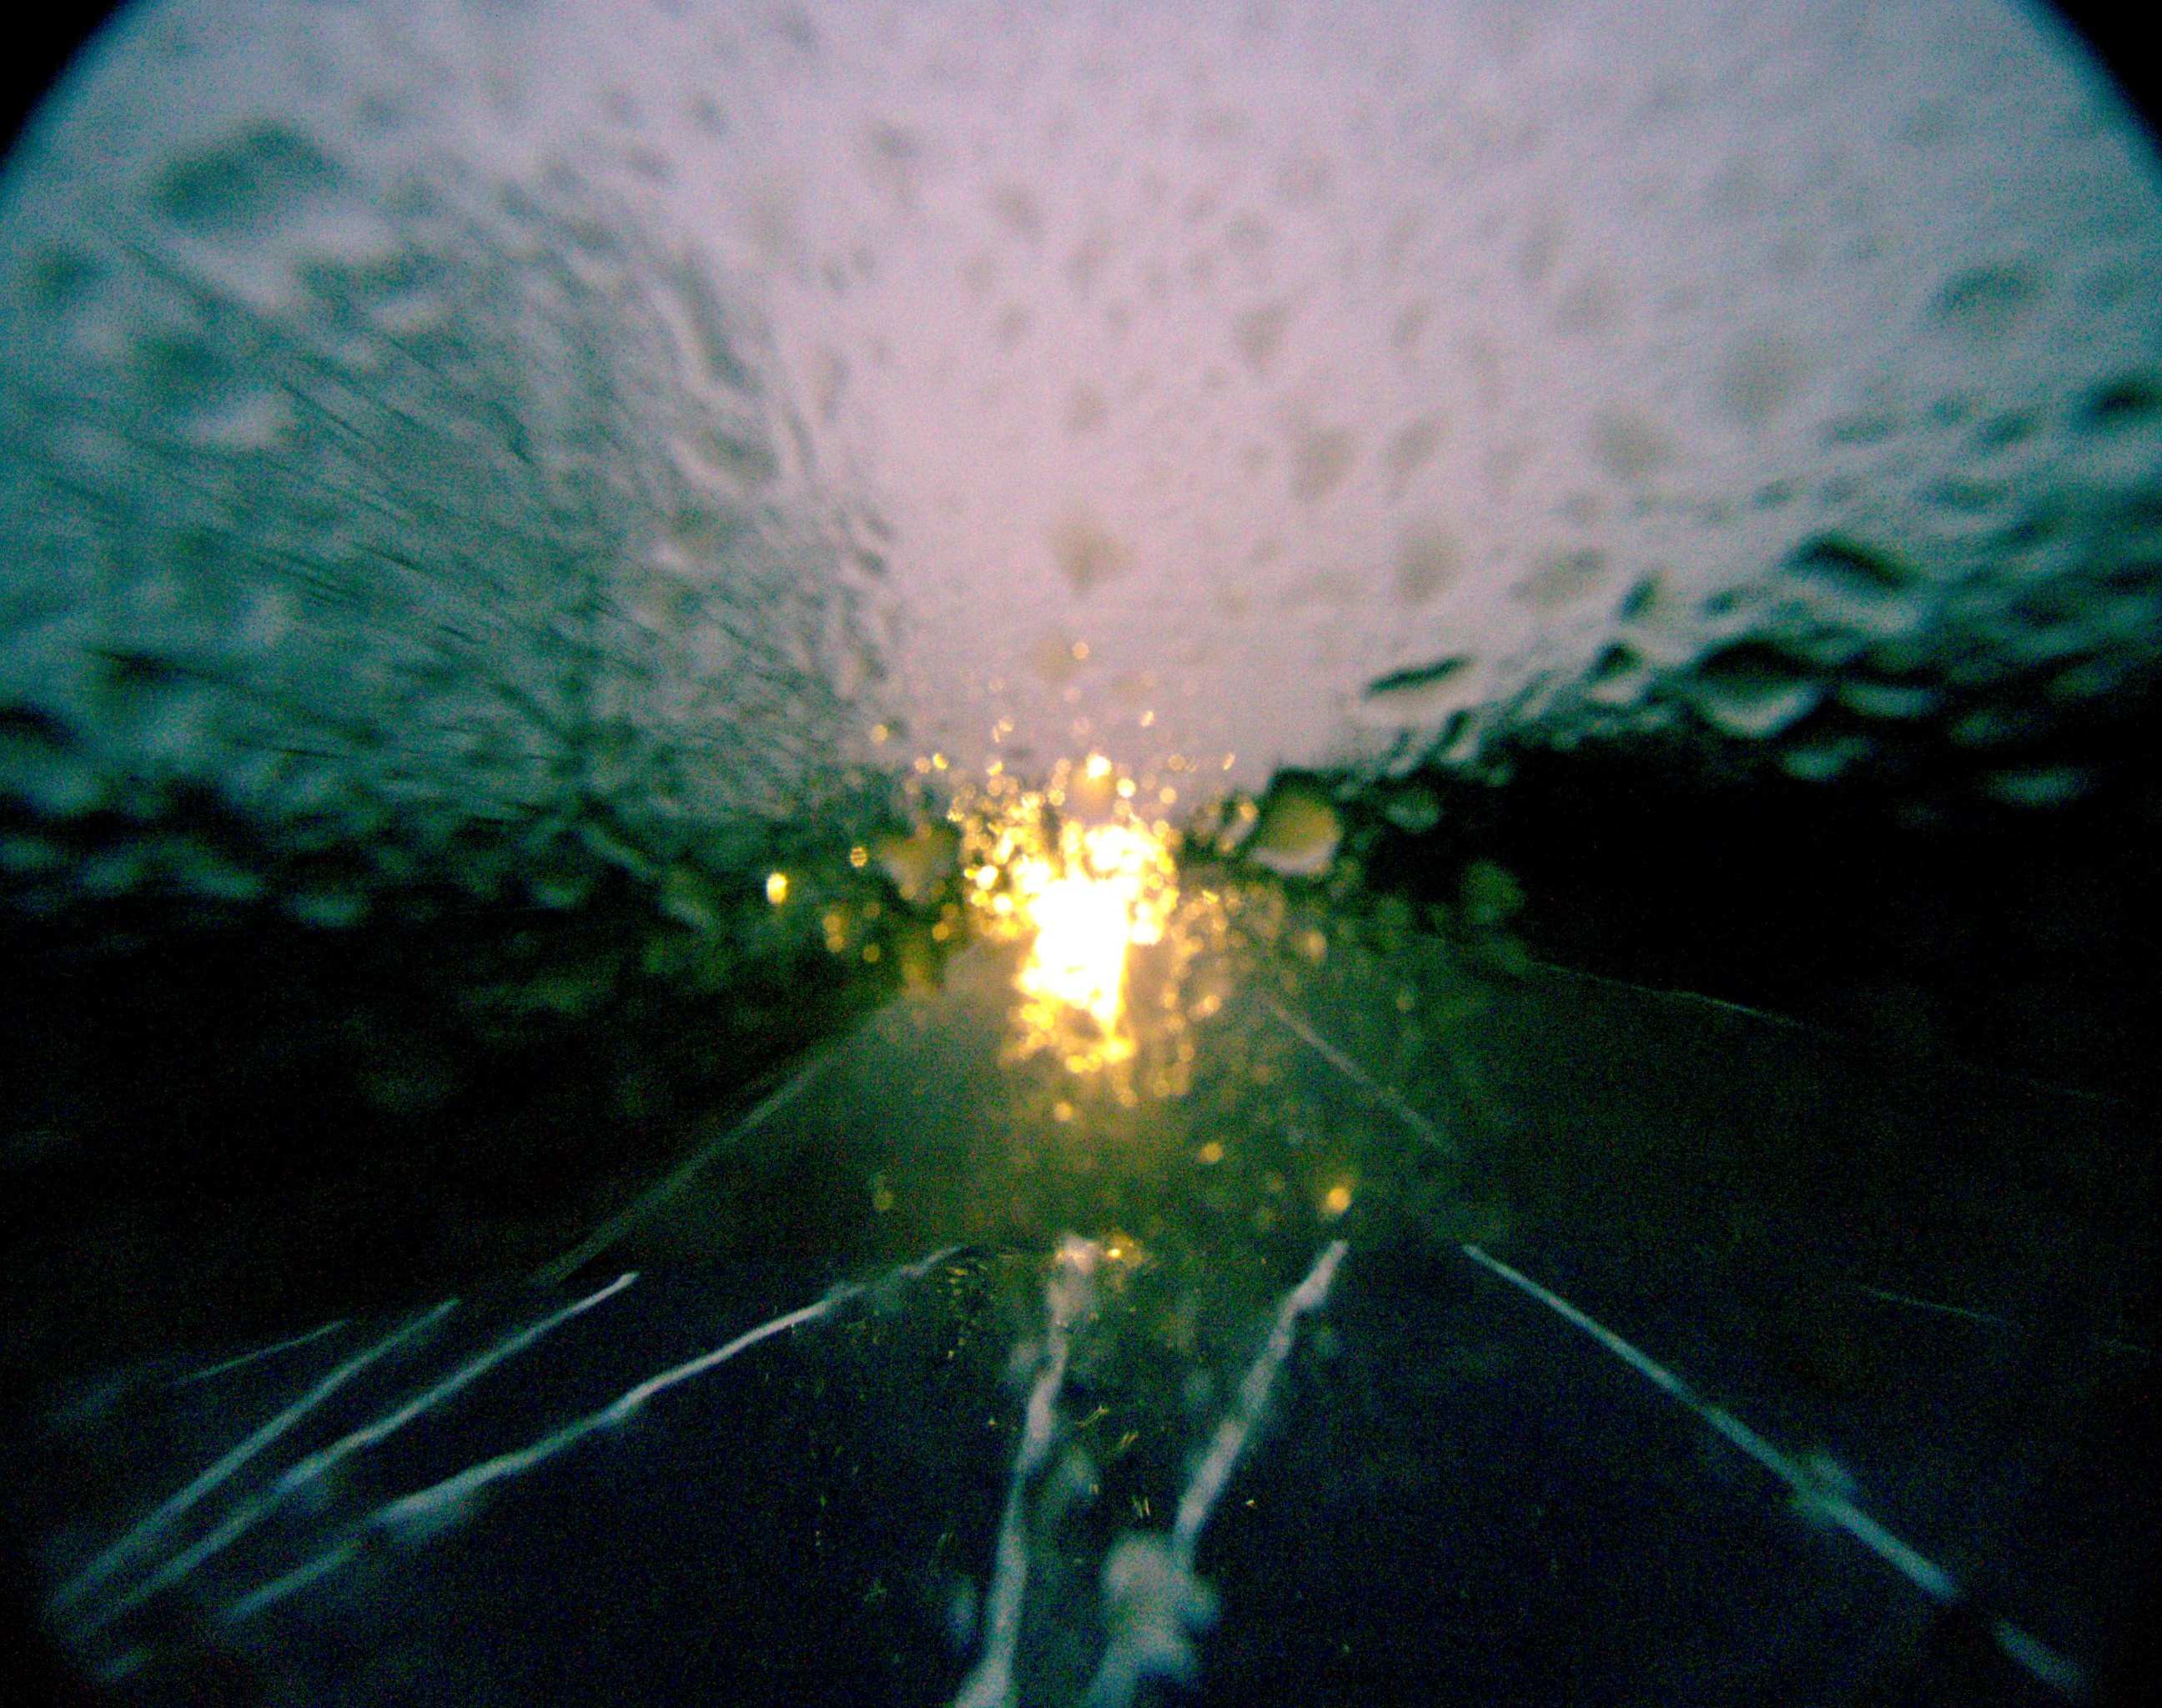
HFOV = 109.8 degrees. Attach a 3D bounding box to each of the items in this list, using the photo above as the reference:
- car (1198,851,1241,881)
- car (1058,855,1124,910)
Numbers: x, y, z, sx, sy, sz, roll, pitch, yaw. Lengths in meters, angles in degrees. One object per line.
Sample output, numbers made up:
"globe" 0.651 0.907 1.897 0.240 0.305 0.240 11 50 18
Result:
"car" 7.840 0.655 43.300 1.780 1.599 3.773 0 1 1
"car" 0.443 0.911 26.090 1.998 1.601 4.001 -2 1 4
